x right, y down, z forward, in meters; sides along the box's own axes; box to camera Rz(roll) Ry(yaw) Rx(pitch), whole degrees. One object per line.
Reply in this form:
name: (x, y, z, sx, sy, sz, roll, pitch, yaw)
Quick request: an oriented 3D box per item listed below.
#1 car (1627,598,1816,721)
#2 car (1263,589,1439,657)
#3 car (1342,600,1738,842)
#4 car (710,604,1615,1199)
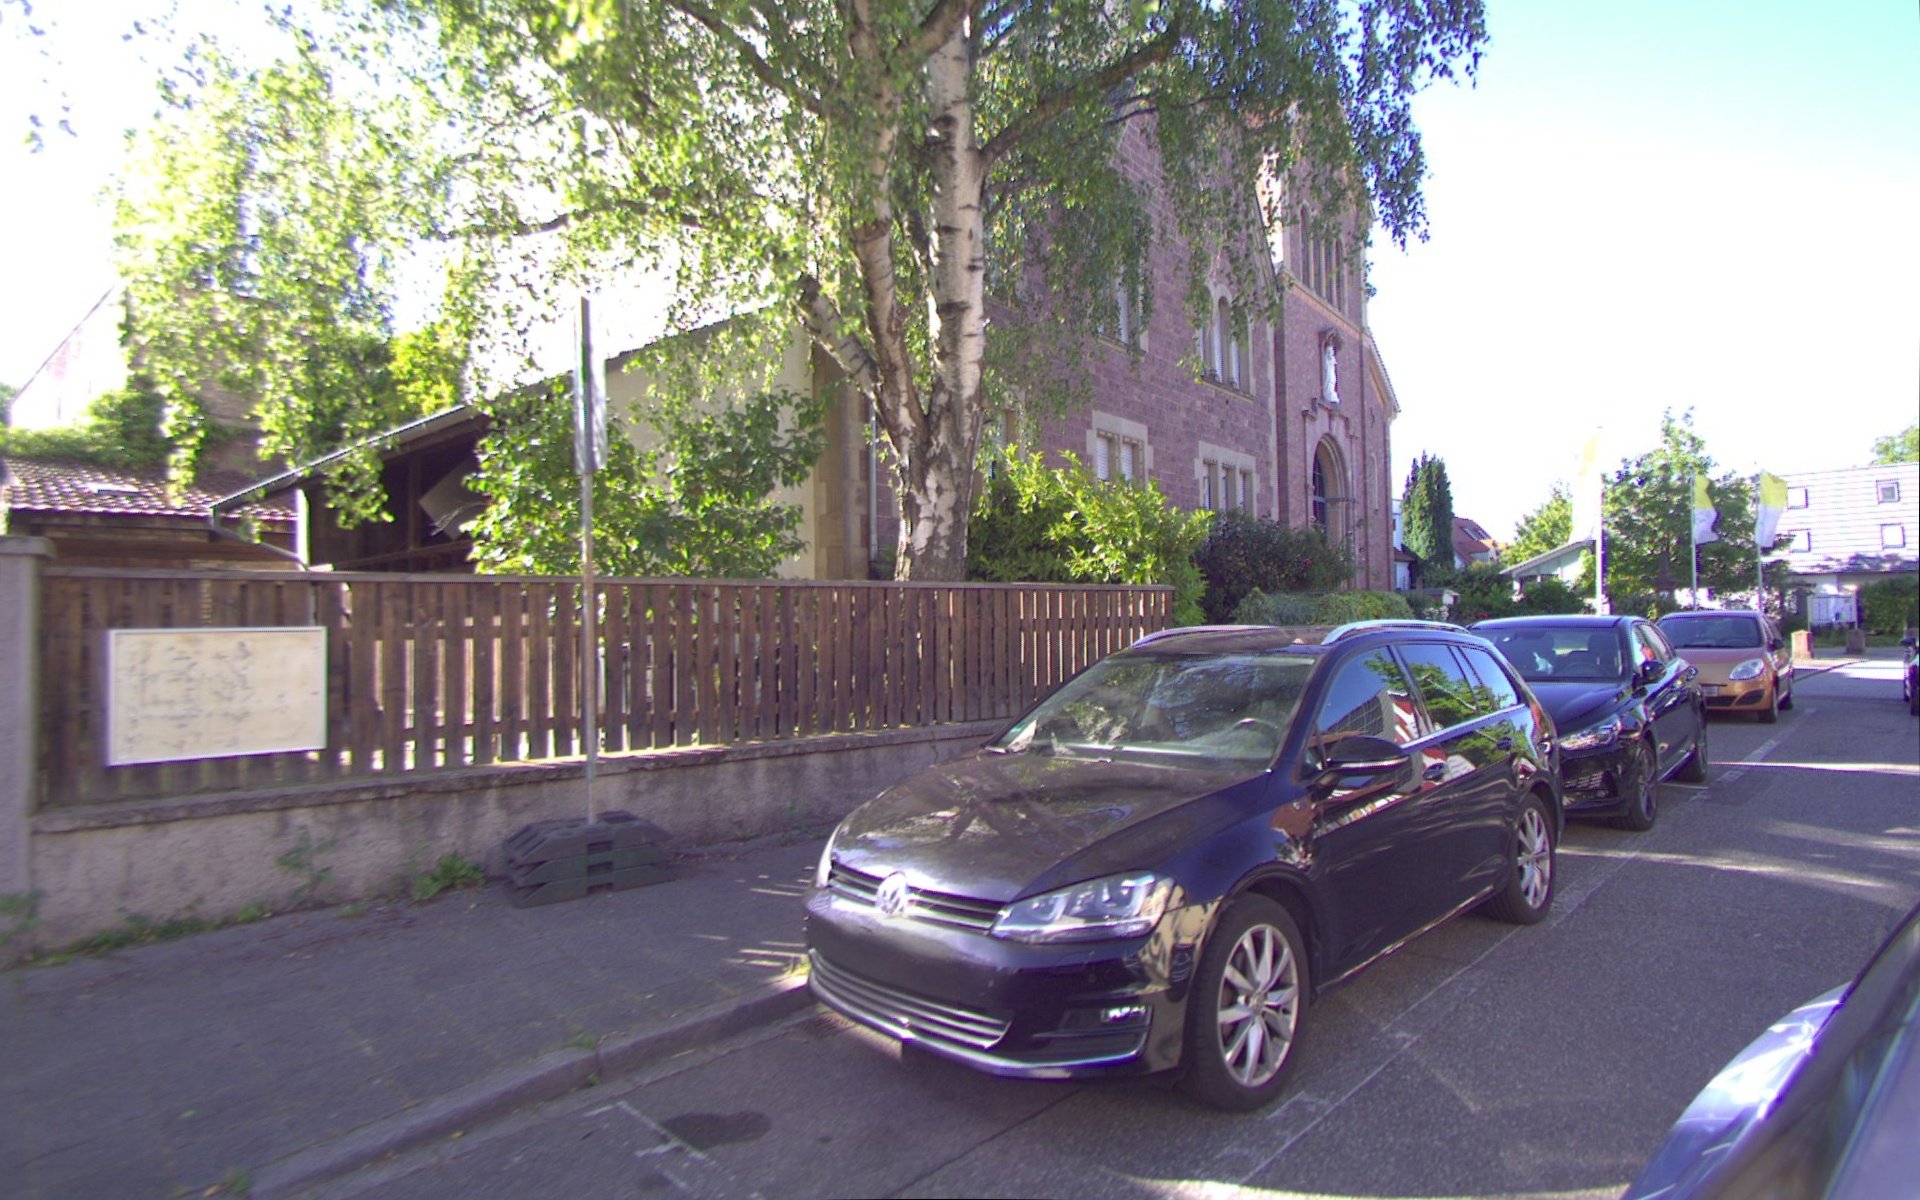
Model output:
car: (10.919, 0.776, 14.414, 1.648, 1.498, 3.871, -3, -3, 44)
car: (10.130, 0.543, 26.342, 3.892, 1.514, 1.878, 2, 2, 39)
car: (4.908, 0.774, 8.265, 1.807, 1.455, 4.217, -3, -3, 44)
car: (1.225, 0.781, 4.533, 4.212, 1.455, 1.809, 0, -3, -42)
